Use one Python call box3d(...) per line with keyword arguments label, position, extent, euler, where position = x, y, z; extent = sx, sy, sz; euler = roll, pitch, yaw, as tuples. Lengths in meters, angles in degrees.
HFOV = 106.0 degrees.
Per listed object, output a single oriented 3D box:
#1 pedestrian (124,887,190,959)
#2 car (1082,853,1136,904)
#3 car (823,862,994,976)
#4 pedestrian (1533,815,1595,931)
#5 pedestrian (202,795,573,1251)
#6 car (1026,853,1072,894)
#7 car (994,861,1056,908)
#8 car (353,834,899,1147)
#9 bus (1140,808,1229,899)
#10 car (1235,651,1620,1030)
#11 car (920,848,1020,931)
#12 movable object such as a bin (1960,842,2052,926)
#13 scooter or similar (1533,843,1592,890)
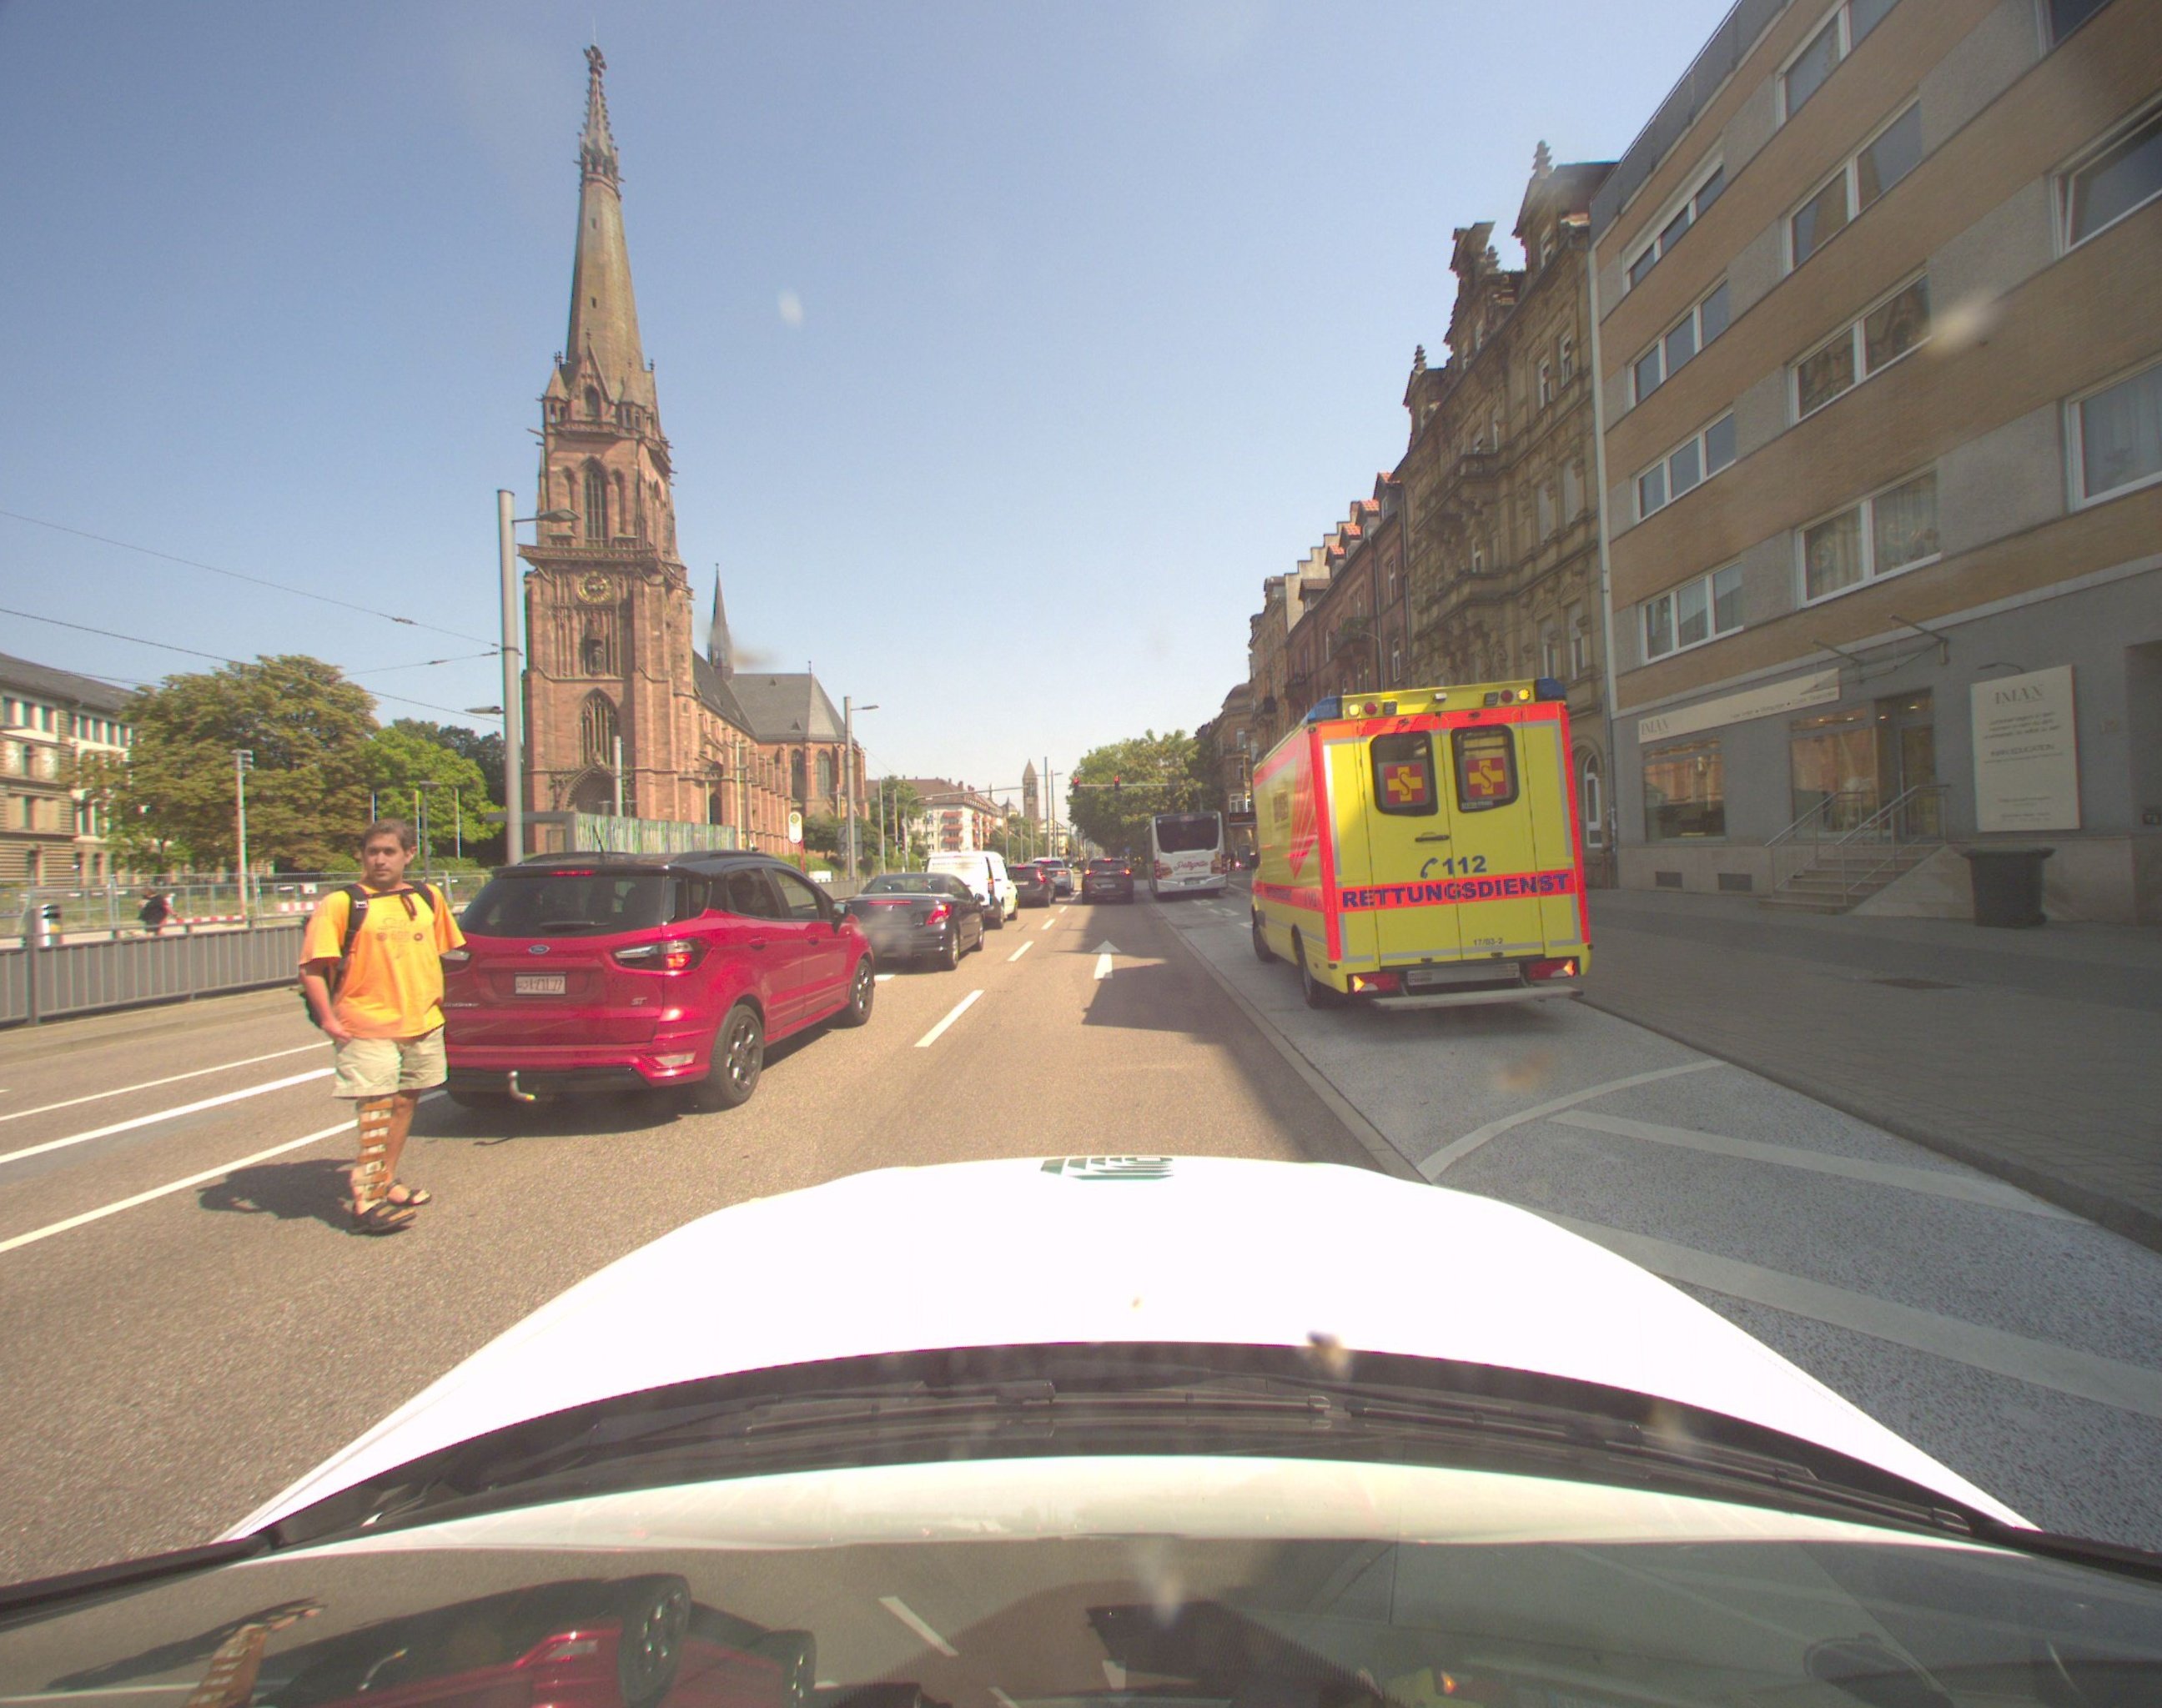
box3d(label="pedestrian", position=(-23.481, 1.733, 20.706), extent=(0.826, 1.752, 0.721), euler=(-2, -1, 2))
box3d(label="car", position=(0.992, 0.881, 29.724), extent=(1.784, 1.677, 4.000), euler=(-2, -1, 1))
box3d(label="car", position=(-2.542, 0.902, 12.991), extent=(1.784, 1.431, 4.000), euler=(-2, 0, 0))
box3d(label="pedestrian", position=(7.201, 0.281, 12.167), extent=(0.690, 1.667, 0.606), euler=(-3, 0, 28))
box3d(label="pedestrian", position=(-3.044, 0.658, 3.637), extent=(1.057, 1.752, 0.766), euler=(-1, 0, 15))
box3d(label="car", position=(-1.357, 0.856, 36.211), extent=(1.784, 1.698, 4.000), euler=(-2, -1, 1))
box3d(label="car", position=(-1.868, 1.019, 28.398), extent=(1.784, 1.472, 4.000), euler=(-2, -1, 1))
box3d(label="car", position=(-2.923, 0.776, 6.414), extent=(1.754, 1.618, 4.086), euler=(-2, -1, 4))
box3d(label="bus", position=(4.005, 0.016, 34.198), extent=(2.524, 3.032, 12.442), euler=(-2, 0, 2))
box3d(label="car", position=(3.273, -0.100, 9.298), extent=(2.288, 2.888, 5.607), euler=(-3, 0, 5))
box3d(label="car", position=(-2.619, 0.829, 20.067), extent=(1.784, 1.780, 4.000), euler=(-2, -1, 1))
box3d(label="movable object such as a bin", position=(12.280, 0.392, 10.833), extent=(0.651, 1.047, 0.755), euler=(-2, 0, -41))
box3d(label="scooter or similar", position=(12.718, 0.325, 21.535), extent=(0.513, 1.196, 1.296), euler=(-2, -1, -17))
